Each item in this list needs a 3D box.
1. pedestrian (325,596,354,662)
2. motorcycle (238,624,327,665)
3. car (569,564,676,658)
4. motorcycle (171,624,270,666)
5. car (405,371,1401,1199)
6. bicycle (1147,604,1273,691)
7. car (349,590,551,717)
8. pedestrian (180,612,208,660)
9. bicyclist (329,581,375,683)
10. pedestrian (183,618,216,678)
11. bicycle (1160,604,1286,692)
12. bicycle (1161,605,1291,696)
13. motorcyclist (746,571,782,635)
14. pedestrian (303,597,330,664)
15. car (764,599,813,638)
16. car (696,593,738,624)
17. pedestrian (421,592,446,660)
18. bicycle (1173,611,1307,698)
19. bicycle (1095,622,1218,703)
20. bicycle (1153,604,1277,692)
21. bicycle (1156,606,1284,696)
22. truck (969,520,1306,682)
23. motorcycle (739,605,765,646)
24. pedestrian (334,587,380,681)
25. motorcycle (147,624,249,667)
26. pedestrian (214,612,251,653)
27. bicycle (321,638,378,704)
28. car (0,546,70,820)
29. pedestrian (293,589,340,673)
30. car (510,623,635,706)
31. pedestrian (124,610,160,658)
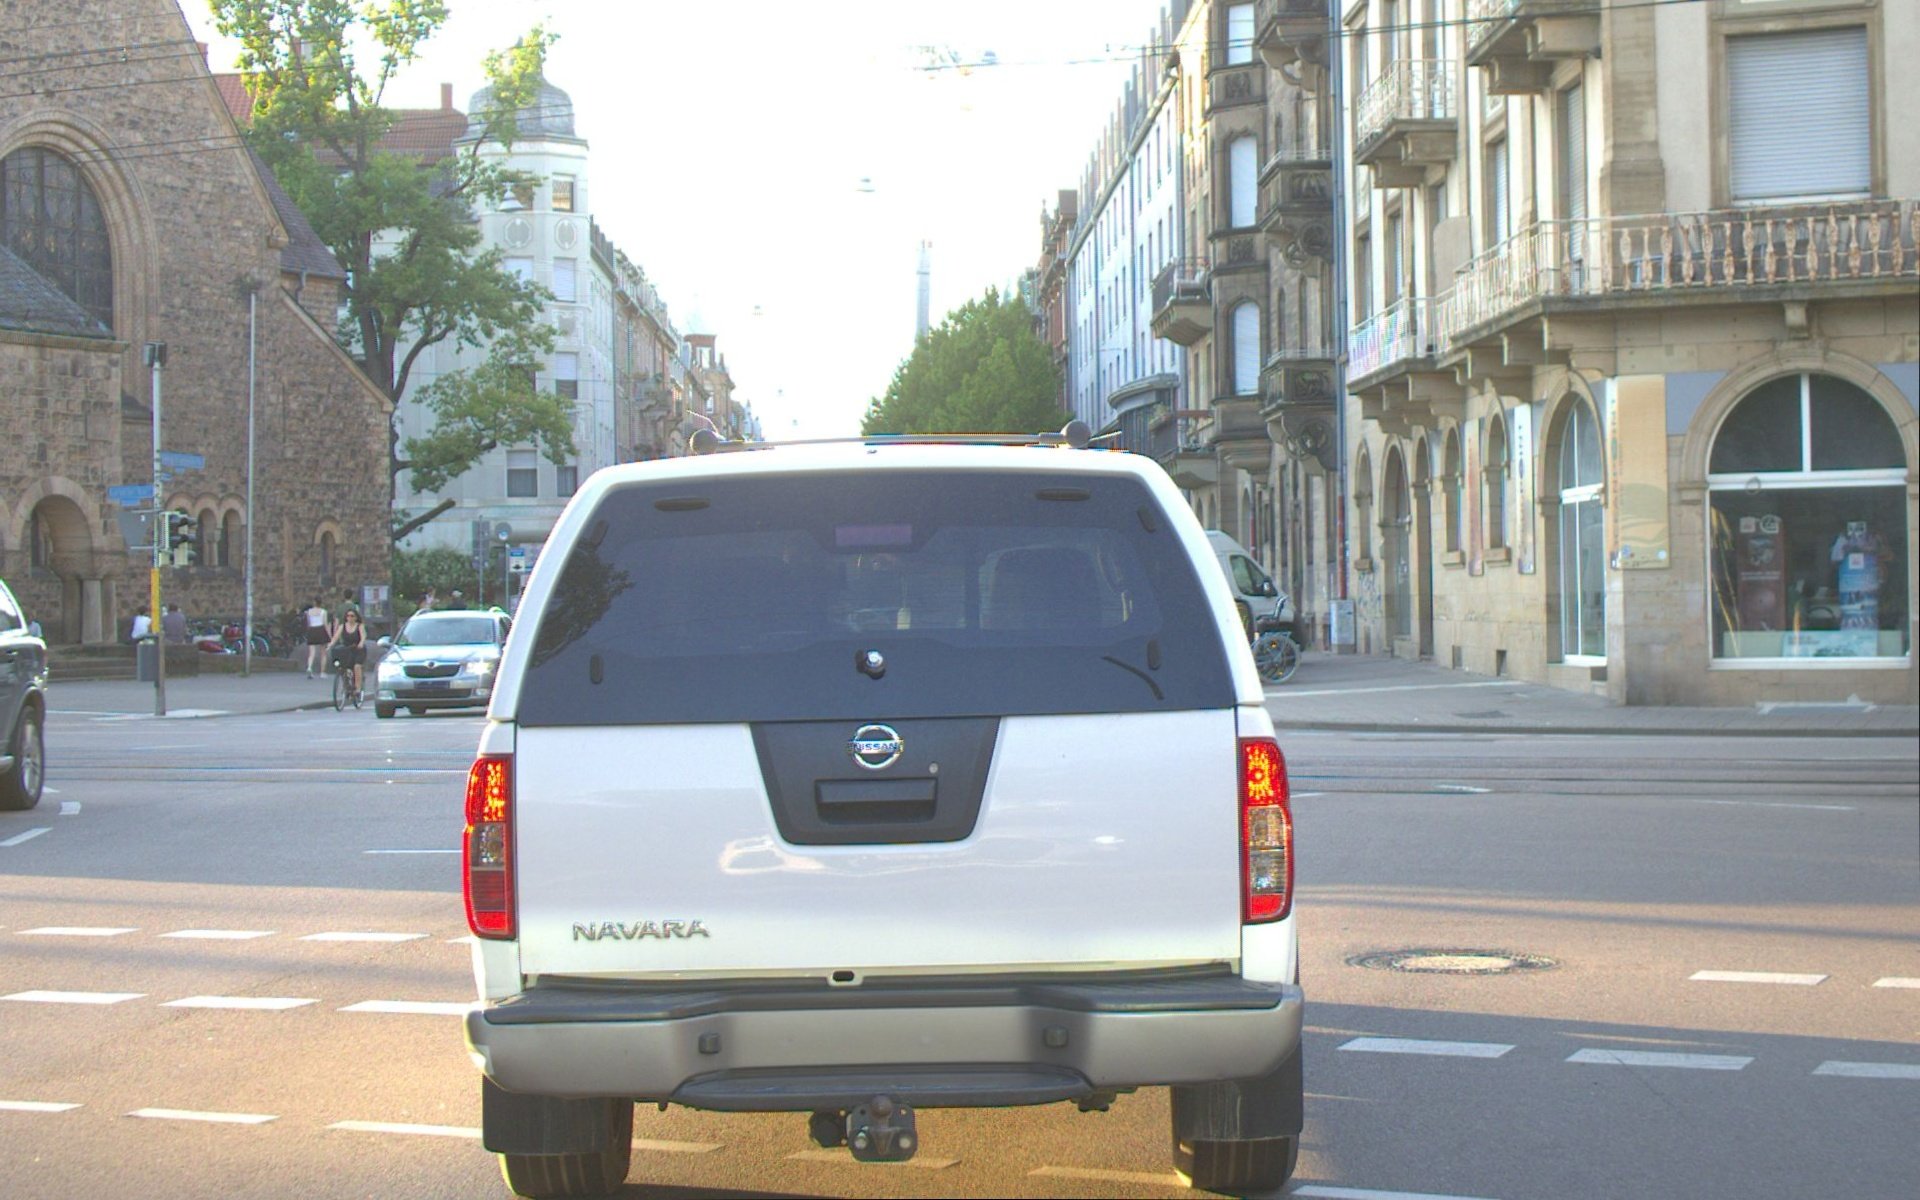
[{"bbox_3d":[-15.880,0.738,88.036,0.642,1.690,0.562,0,-1,-1],"label":"pedestrian"},{"bbox_3d":[-16.655,1.094,84.490,2.167,0.984,0.593,0,-1,20],"label":"motorcycle"},{"bbox_3d":[-7.598,0.263,77.811,1.993,2.007,4.950,-1,0,-1],"label":"car"},{"bbox_3d":[-17.677,1.074,82.212,2.243,0.984,0.708,0,-1,-5],"label":"motorcycle"},{"bbox_3d":[-0.115,0.462,8.917,1.993,1.803,4.000,0,0,0],"label":"car"},{"bbox_3d":[3.921,0.748,54.000,1.855,1.234,0.531,-4,0,-2],"label":"bicycle"},{"bbox_3d":[-7.069,0.704,48.119,1.993,1.552,4.769,-2,1,1],"label":"car"},{"bbox_3d":[-15.318,0.725,68.764,0.521,0.957,0.479,0,-1,-16],"label":"pedestrian"},{"bbox_3d":[-9.843,0.519,55.664,0.599,1.639,0.963,0,-1,-1],"label":"bicyclist"},{"bbox_3d":[-15.812,0.998,71.468,0.478,1.241,0.523,0,-1,18],"label":"pedestrian"},{"bbox_3d":[4.038,0.738,52.863,1.817,1.234,0.412,-4,0,-2],"label":"bicycle"},{"bbox_3d":[3.978,0.756,51.426,1.817,1.234,0.488,-4,0,-2],"label":"bicycle"},{"bbox_3d":[-5.020,0.075,88.118,0.874,1.639,0.963,0,-1,-1],"label":"motorcyclist"},{"bbox_3d":[-16.100,0.763,85.998,0.642,1.690,0.562,0,-1,-8],"label":"pedestrian"},{"bbox_3d":[-6.770,0.739,136.236,1.858,1.524,4.000,0,0,-2],"label":"car"},{"bbox_3d":[-12.223,0.455,172.921,1.858,1.524,4.000,0,0,-1],"label":"car"},{"bbox_3d":[-14.440,0.708,94.287,0.642,1.849,0.562,0,-1,-14],"label":"pedestrian"},{"bbox_3d":[4.104,0.793,50.484,1.817,1.146,0.636,-4,0,-2],"label":"bicycle"},{"bbox_3d":[2.911,0.920,50.960,1.726,1.080,0.317,-4,0,-2],"label":"bicycle"},{"bbox_3d":[3.965,0.742,53.469,1.817,1.234,0.410,-4,0,-2],"label":"bicycle"},{"bbox_3d":[3.938,0.766,52.138,1.817,1.234,0.478,-4,0,-2],"label":"bicycle"},{"bbox_3d":[3.004,0.013,57.059,5.658,2.556,2.286,0,0,-43],"label":"truck"},{"bbox_3d":[-5.321,0.659,88.133,0.599,1.040,1.946,0,0,-1],"label":"motorcycle"},{"bbox_3d":[-12.173,0.688,69.387,0.812,1.894,0.666,0,-1,-2],"label":"pedestrian"},{"bbox_3d":[-17.770,1.059,80.186,2.243,0.984,0.708,0,-1,-5],"label":"motorcycle"},{"bbox_3d":[-16.967,0.762,80.177,0.552,0.957,0.709,0,-1,21],"label":"pedestrian"},{"bbox_3d":[-9.845,1.130,55.485,0.599,1.040,1.946,0,0,-1],"label":"bicycle"},{"bbox_3d":[-7.234,0.550,21.836,1.993,1.778,4.798,0,1,-1],"label":"car"},{"bbox_3d":[-12.981,0.625,69.380,0.812,1.664,0.859,0,-1,-2],"label":"pedestrian"},{"bbox_3d":[-7.459,1.222,66.569,1.993,1.472,4.139,-2,0,-1],"label":"car"},{"bbox_3d":[-16.396,0.676,68.883,0.522,0.957,0.479,0,-1,18],"label":"pedestrian"}]
